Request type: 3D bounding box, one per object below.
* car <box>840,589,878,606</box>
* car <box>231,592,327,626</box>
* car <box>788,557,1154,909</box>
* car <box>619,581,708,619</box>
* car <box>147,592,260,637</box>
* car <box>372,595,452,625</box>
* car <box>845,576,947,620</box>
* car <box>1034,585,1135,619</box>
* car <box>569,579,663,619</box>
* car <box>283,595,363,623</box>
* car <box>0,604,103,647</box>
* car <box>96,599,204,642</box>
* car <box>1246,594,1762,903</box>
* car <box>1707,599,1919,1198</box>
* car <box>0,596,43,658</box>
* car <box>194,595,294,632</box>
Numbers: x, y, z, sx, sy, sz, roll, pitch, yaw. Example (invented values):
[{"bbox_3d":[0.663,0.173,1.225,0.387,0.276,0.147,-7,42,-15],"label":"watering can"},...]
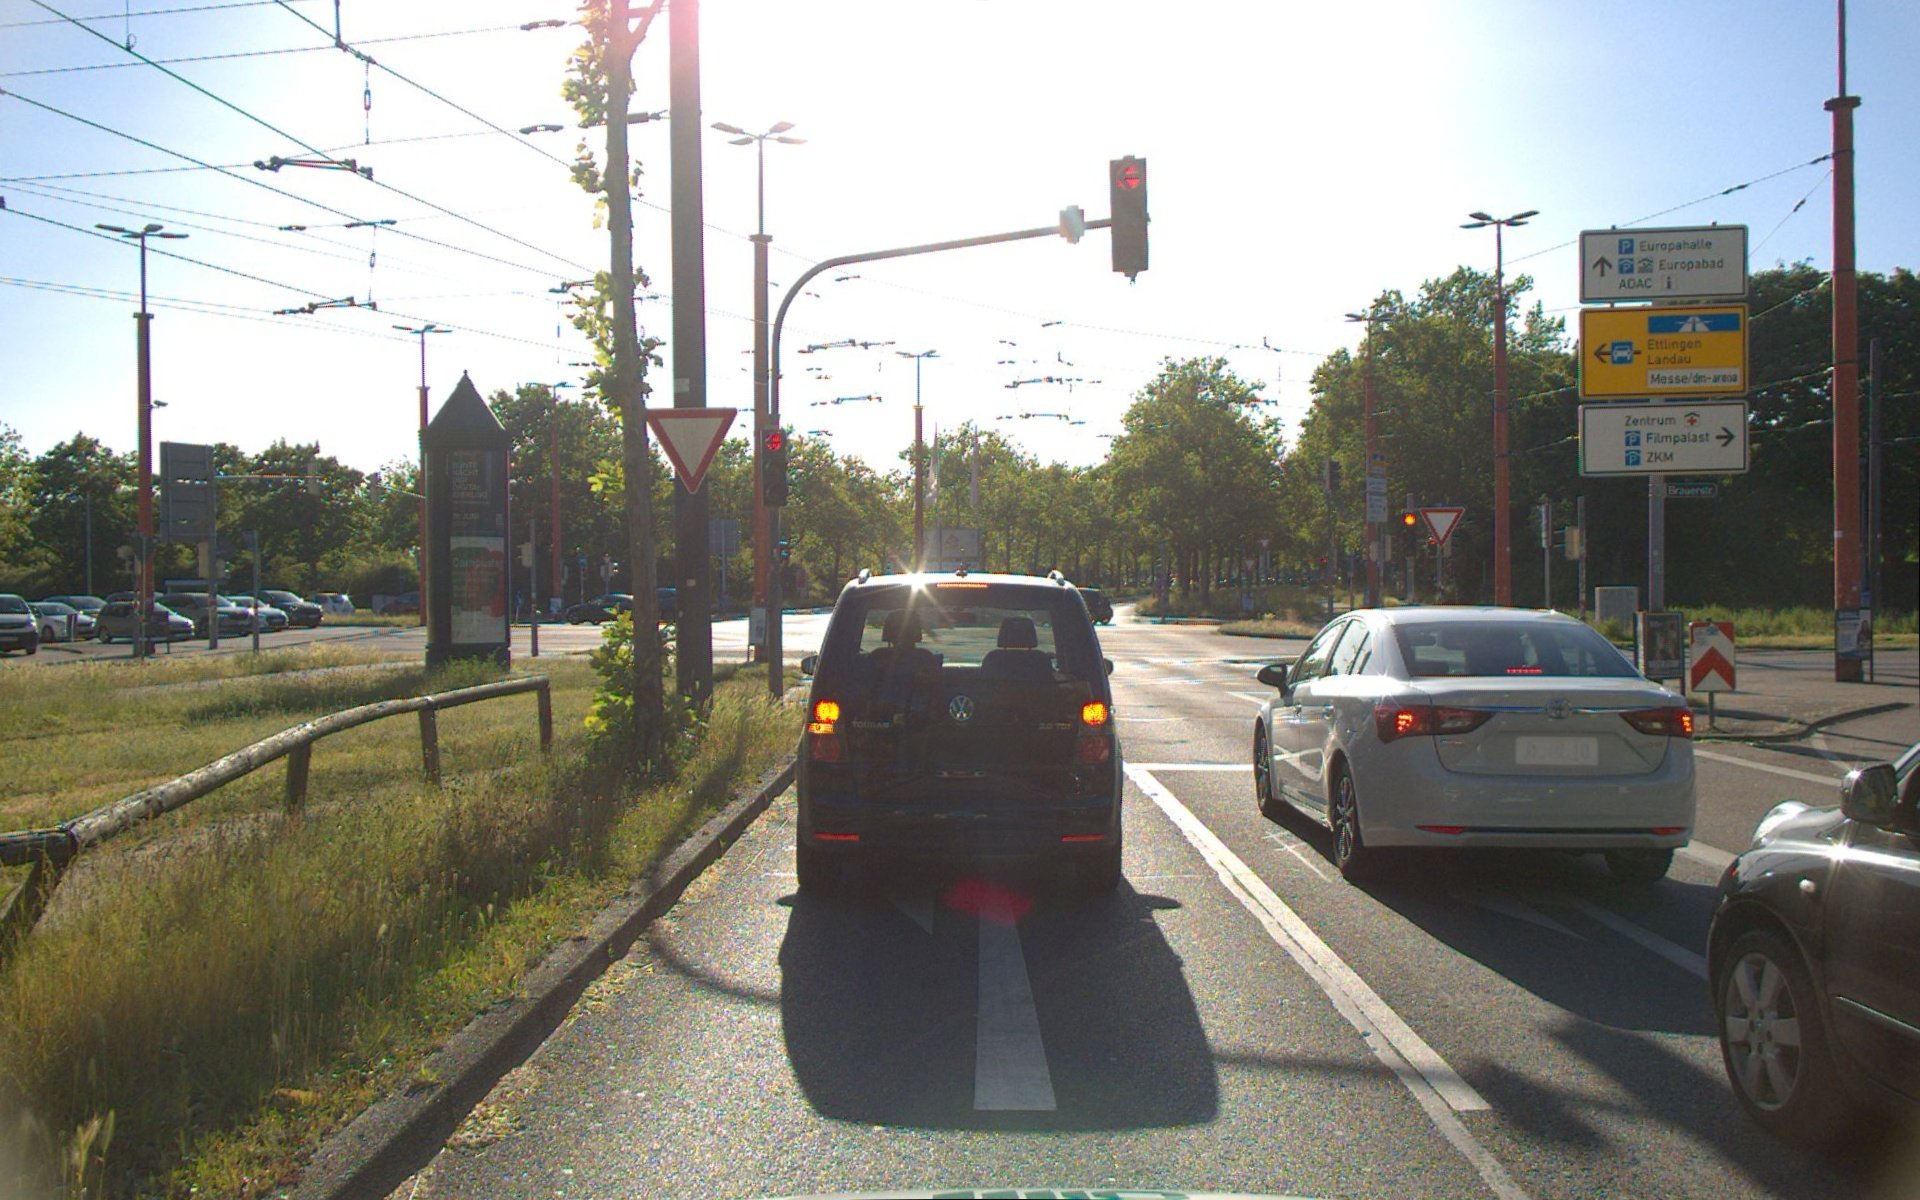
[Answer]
[{"bbox_3d":[-8.265,-0.206,135.280,1.632,1.427,4.094,0,0,-28],"label":"car"},{"bbox_3d":[-29.469,0.372,71.550,4.060,1.440,1.542,0,0,26],"label":"car"},{"bbox_3d":[0.066,0.635,9.963,1.703,1.630,4.326,1,0,0],"label":"car"},{"bbox_3d":[-14.595,-0.012,81.517,4.037,1.822,1.797,0,0,25],"label":"car"},{"bbox_3d":[-29.318,0.539,64.093,4.541,1.676,1.654,0,0,30],"label":"car"},{"bbox_3d":[-29.266,0.521,88.296,4.037,1.497,1.655,0,0,25],"label":"car"},{"bbox_3d":[-2.758,-0.090,71.265,4.036,1.822,1.798,0,0,24],"label":"car"},{"bbox_3d":[5.390,0.092,71.763,4.036,1.427,1.656,0,0,25],"label":"car"},{"bbox_3d":[-16.121,-0.058,77.581,4.036,1.822,1.798,0,0,24],"label":"car"},{"bbox_3d":[-33.149,0.445,86.069,4.039,1.427,1.655,0,0,27],"label":"car"},{"bbox_3d":[-34.939,0.968,63.255,4.536,1.546,1.654,0,0,30],"label":"car"},{"bbox_3d":[-29.545,0.729,60.301,3.755,1.466,1.655,0,0,27],"label":"car"},{"bbox_3d":[3.013,0.729,10.185,1.762,1.465,4.326,1,0,0],"label":"car"},{"bbox_3d":[3.134,0.742,3.489,1.544,1.465,3.441,1,0,0],"label":"car"},{"bbox_3d":[-30.630,0.808,52.281,1.818,1.853,4.826,0,0,-42],"label":"car"},{"bbox_3d":[-29.405,0.530,67.928,4.060,1.440,1.542,0,0,26],"label":"car"}]
